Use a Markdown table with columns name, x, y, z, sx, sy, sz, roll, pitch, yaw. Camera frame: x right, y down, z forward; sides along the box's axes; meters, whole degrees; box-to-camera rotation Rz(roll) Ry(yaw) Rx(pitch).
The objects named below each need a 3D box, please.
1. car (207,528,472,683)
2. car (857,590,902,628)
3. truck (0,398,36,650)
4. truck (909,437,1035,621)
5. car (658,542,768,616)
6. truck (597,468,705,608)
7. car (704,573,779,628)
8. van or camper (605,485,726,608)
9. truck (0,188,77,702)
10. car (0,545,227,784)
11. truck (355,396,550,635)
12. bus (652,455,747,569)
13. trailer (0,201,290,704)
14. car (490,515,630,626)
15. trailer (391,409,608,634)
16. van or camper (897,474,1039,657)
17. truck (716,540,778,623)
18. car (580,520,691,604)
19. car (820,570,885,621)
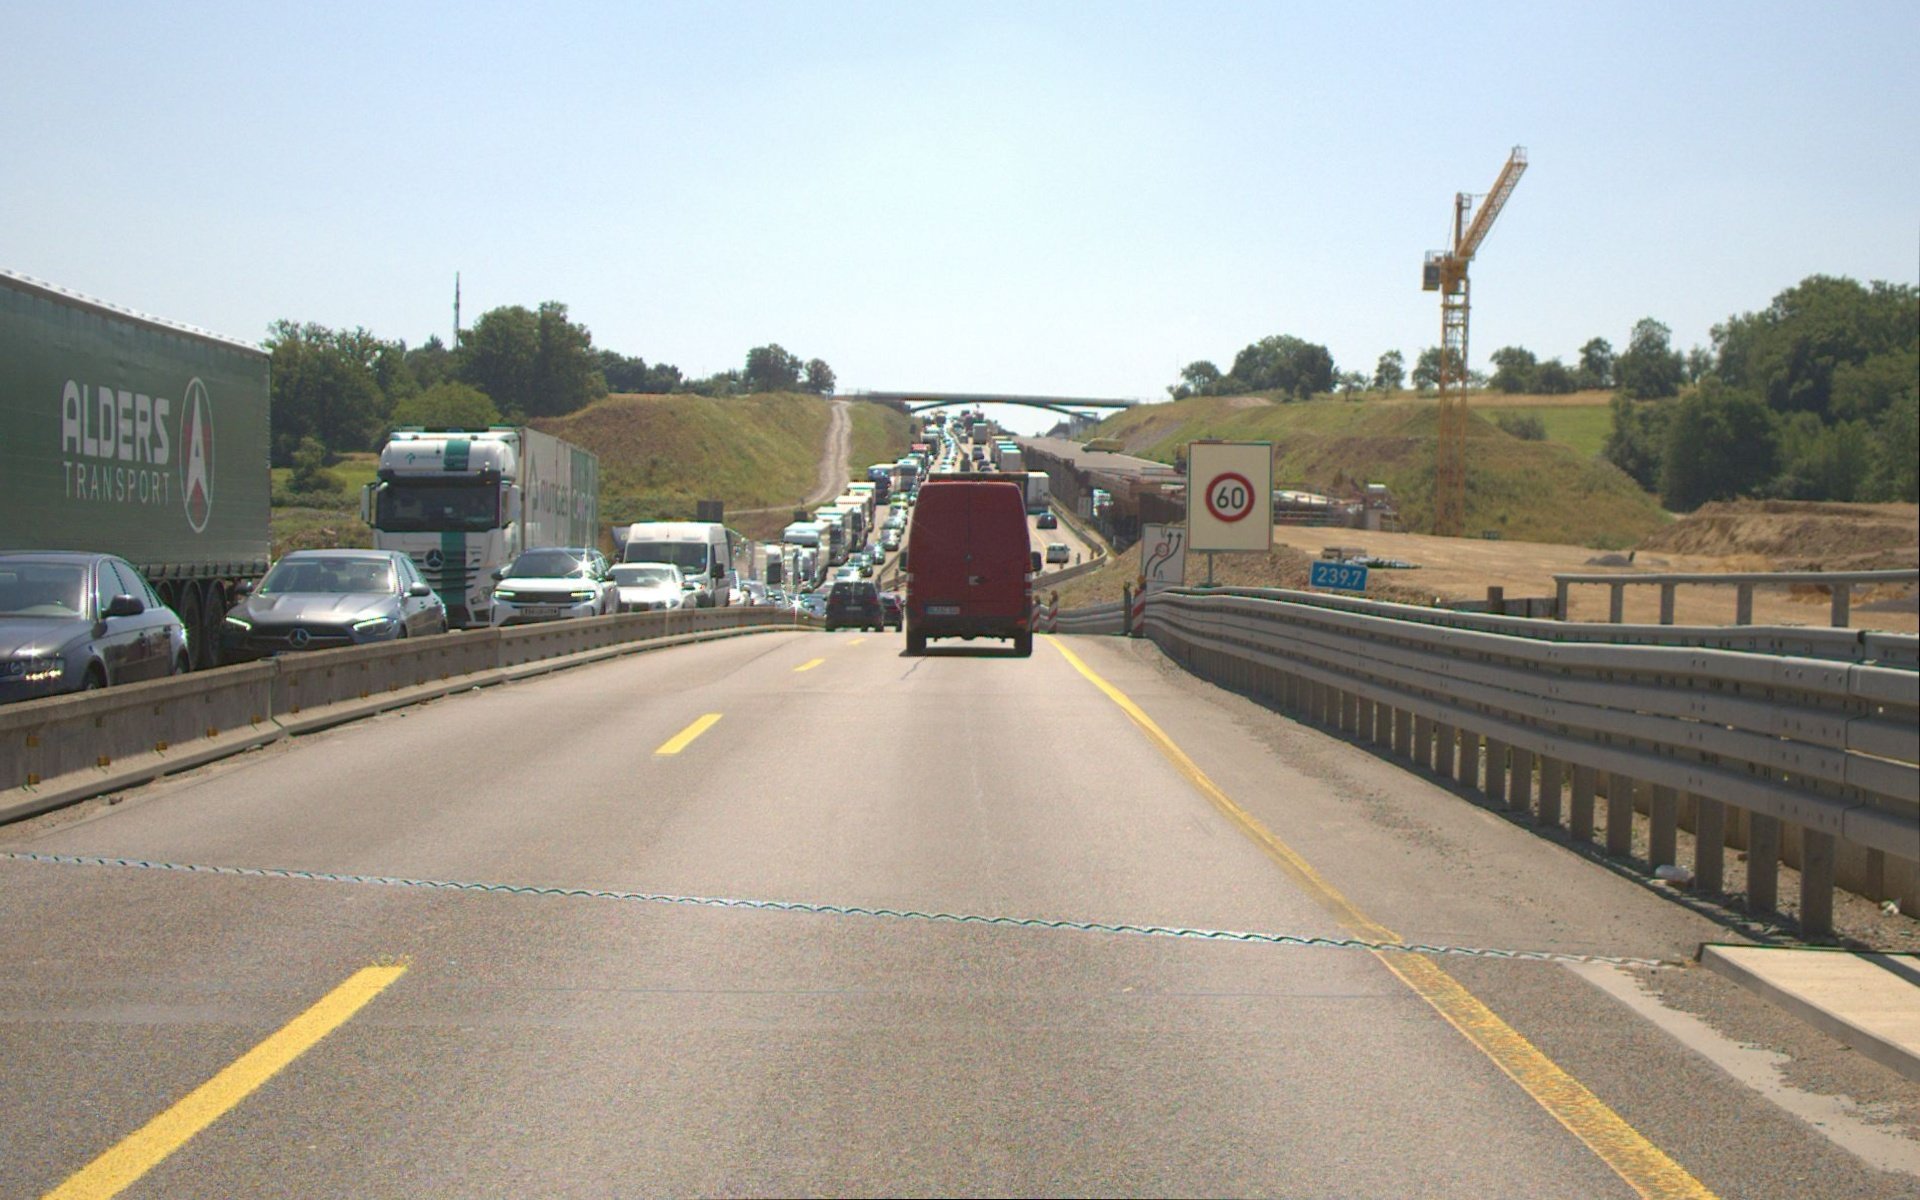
| name | x | y | z | sx | sy | sz | roll | pitch | yaw |
| --- | --- | --- | --- | --- | --- | --- | --- | --- | --- |
| car | -6.412 | 0.013 | 36.029 | 1.865 | 1.454 | 4.607 | 2 | 1 | 0 |
| car | -3.650 | 0.400 | 156.446 | 2.012 | 1.539 | 4.133 | 2 | 1 | -1 |
| truck | -15.767 | -1.118 | 48.701 | 2.904 | 3.752 | 8.368 | 2 | 1 | 1 |
| truck | 0.256 | -1.871 | 91.453 | 3.020 | 4.677 | 6.933 | -1 | 1 | -2 |
| car | -6.389 | -0.580 | 89.444 | 2.371 | 1.720 | 5.781 | 3 | 1 | 0 |
| truck | -10.251 | -1.979 | 114.965 | 2.802 | 4.138 | 10.079 | 2 | -2 | -1 |
| car | -6.327 | -0.001 | 100.068 | 1.882 | 1.427 | 5.125 | 2 | 1 | -1 |
| van or camper | -6.443 | -1.185 | 75.828 | 2.218 | 2.503 | 6.534 | 2 | 1 | -2 |
| truck | -10.004 | -1.355 | 29.206 | 3.078 | 4.521 | 7.103 | 1 | 1 | 1 |
| car | -6.455 | 0.363 | 23.657 | 1.777 | 1.415 | 4.538 | 2 | 1 | 0 |
| truck | -9.735 | -1.614 | 66.561 | 2.806 | 4.377 | 6.225 | 0 | 1 | 0 |
| bus | -10.444 | -3.514 | 139.087 | 2.739 | 4.249 | 14.477 | 2 | 1 | -1 |
| trailer | -10.015 | -1.410 | 36.697 | 3.102 | 4.449 | 13.020 | 0 | 1 | 0 |
| car | -6.405 | -0.498 | 55.441 | 1.756 | 1.641 | 4.156 | 2 | 1 | -1 |
| trailer | -9.720 | -1.537 | 74.077 | 2.815 | 4.415 | 13.168 | 0 | 0 | 0 |
| van or camper | 0.079 | -0.559 | 54.130 | 2.029 | 2.735 | 4.516 | 1 | 1 | -2 |
| truck | -10.975 | -0.944 | 176.728 | 2.976 | 4.170 | 5.875 | 1 | 0 | -5 |
| car | -6.205 | -0.755 | 66.153 | 1.993 | 1.493 | 4.976 | 2 | 1 | -4 |
| car | -3.410 | -0.148 | 109.128 | 2.012 | 1.540 | 4.133 | 1 | 1 | -2 |
